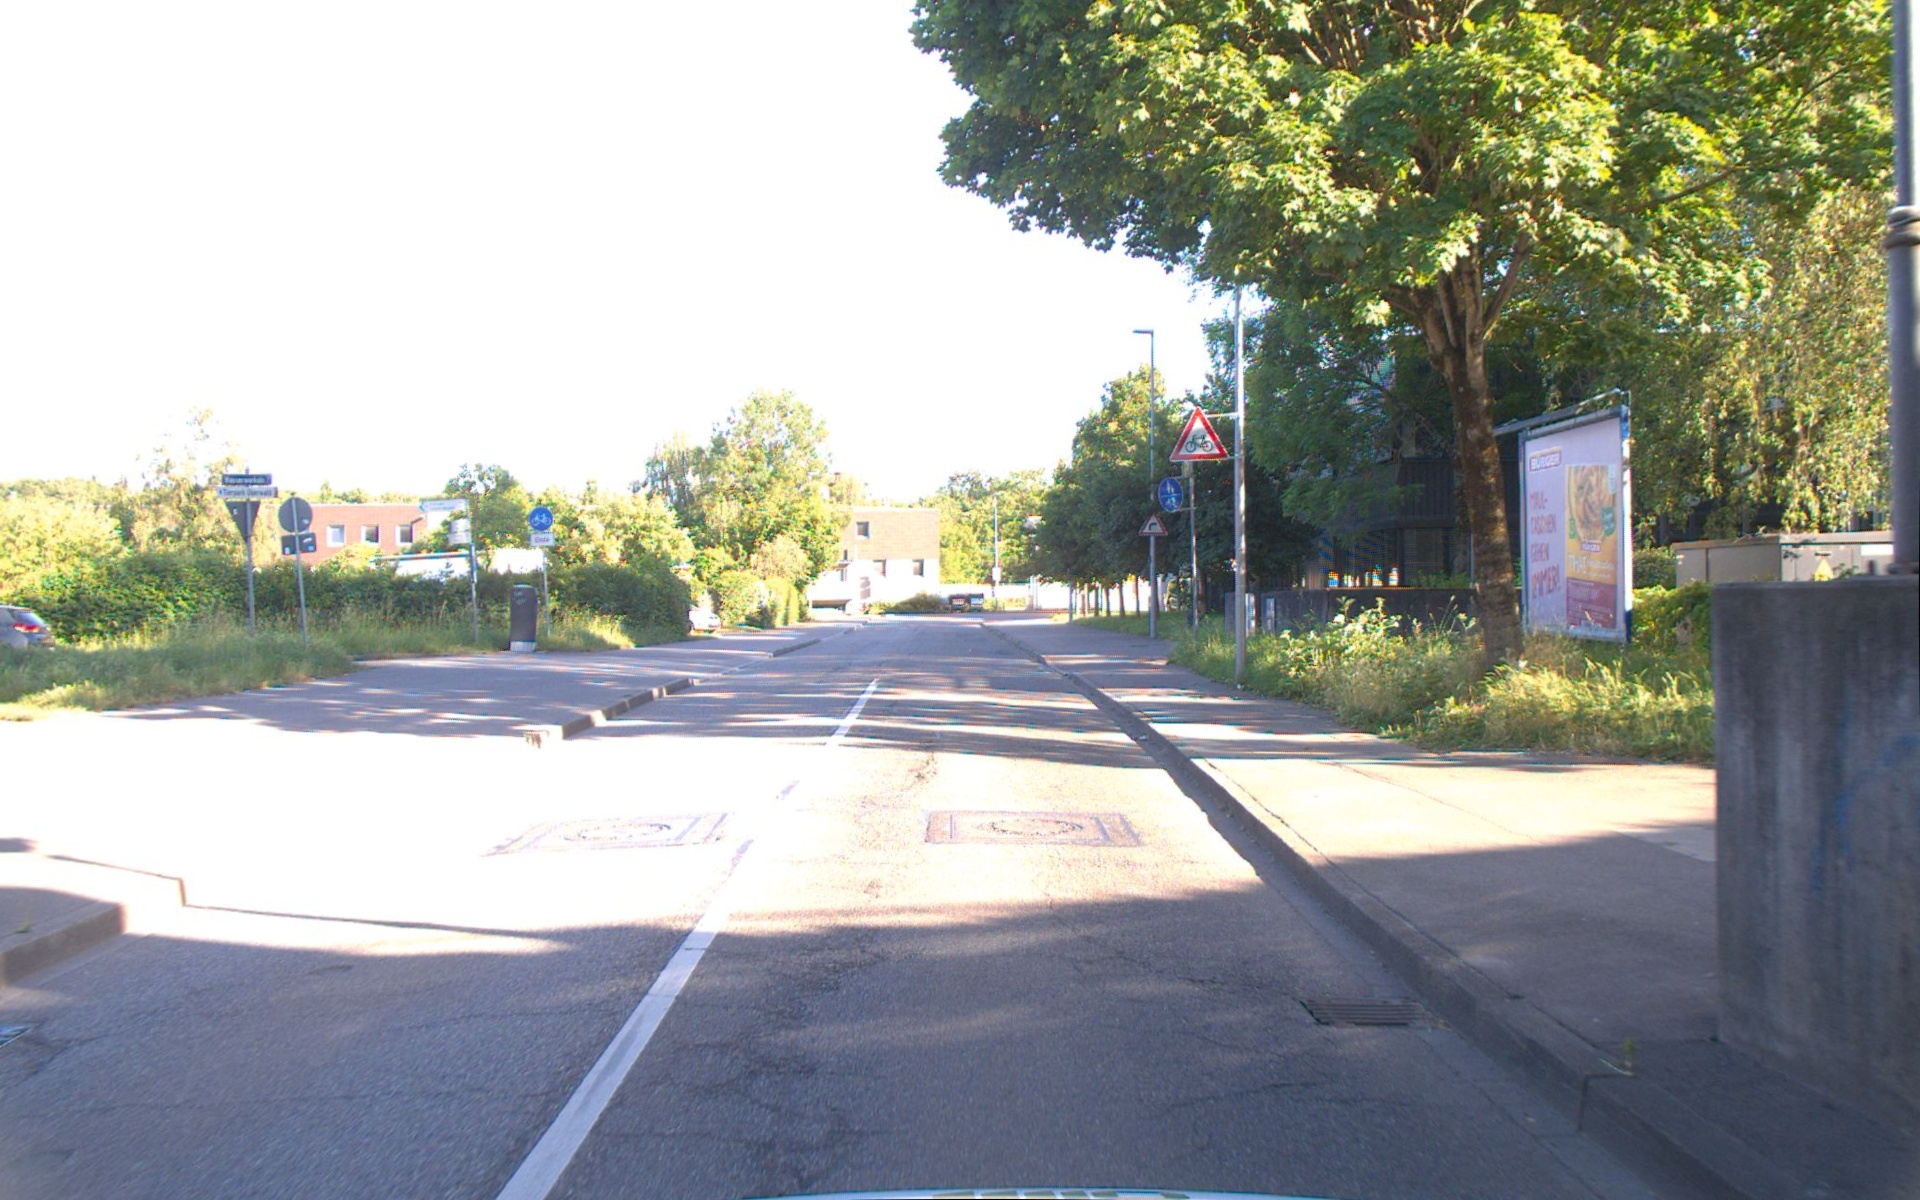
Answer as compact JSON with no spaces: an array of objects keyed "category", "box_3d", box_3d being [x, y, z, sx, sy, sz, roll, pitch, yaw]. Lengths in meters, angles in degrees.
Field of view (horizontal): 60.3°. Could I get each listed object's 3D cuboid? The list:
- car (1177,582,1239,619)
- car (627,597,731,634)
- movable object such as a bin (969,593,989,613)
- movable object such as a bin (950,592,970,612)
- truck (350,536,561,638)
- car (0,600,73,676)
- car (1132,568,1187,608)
[{"category":"car","box_3d":[10.580,0.052,70.804,1.798,1.492,4.276,1,-1,-3]},{"category":"car","box_3d":[-12.210,0.675,71.889,4.128,1.516,1.875,1,-1,26]},{"category":"movable object such as a bin","box_3d":[1.392,0.209,123.494,1.339,1.443,1.064,1,-1,-8]},{"category":"movable object such as a bin","box_3d":[-0.021,0.180,123.250,1.339,1.443,1.064,1,-1,-8]},{"category":"truck","box_3d":[-20.795,-0.436,68.022,9.127,3.951,2.707,-1,-2,29]},{"category":"car","box_3d":[-20.212,0.794,33.077,3.955,1.473,1.882,-1,-2,-13]},{"category":"car","box_3d":[10.003,-0.572,83.106,1.799,1.846,4.660,1,-1,-5]}]
